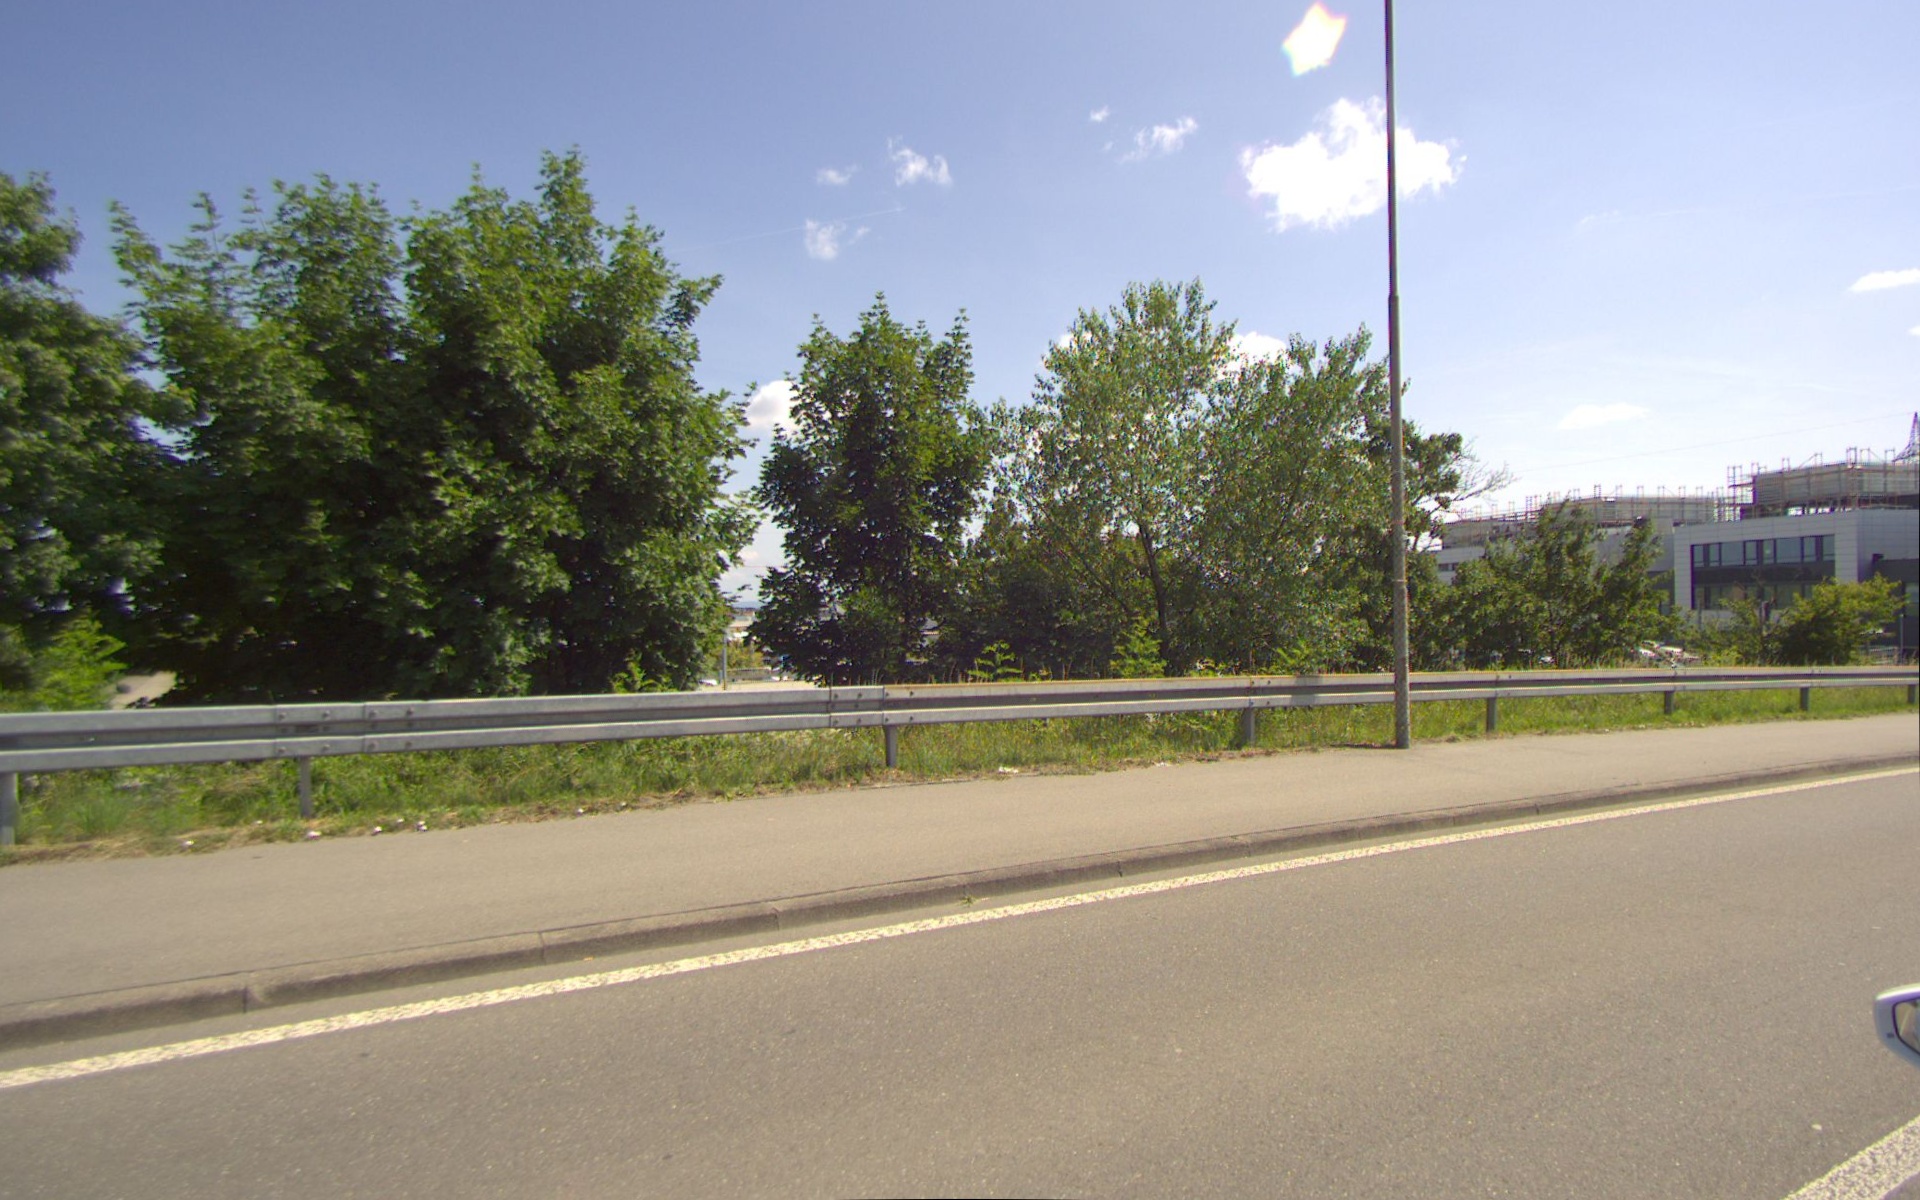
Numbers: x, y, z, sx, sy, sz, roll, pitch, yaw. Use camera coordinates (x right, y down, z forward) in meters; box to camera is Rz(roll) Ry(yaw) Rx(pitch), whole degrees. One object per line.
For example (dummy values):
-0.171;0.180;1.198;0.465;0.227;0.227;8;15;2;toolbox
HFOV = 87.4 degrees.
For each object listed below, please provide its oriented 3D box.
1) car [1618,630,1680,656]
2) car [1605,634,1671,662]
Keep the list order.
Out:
58.670;3.628;85.575;1.979;2.041;3.962;-2;1;-34;car
54.711;3.853;81.126;1.979;2.041;3.962;-2;1;-34;car
